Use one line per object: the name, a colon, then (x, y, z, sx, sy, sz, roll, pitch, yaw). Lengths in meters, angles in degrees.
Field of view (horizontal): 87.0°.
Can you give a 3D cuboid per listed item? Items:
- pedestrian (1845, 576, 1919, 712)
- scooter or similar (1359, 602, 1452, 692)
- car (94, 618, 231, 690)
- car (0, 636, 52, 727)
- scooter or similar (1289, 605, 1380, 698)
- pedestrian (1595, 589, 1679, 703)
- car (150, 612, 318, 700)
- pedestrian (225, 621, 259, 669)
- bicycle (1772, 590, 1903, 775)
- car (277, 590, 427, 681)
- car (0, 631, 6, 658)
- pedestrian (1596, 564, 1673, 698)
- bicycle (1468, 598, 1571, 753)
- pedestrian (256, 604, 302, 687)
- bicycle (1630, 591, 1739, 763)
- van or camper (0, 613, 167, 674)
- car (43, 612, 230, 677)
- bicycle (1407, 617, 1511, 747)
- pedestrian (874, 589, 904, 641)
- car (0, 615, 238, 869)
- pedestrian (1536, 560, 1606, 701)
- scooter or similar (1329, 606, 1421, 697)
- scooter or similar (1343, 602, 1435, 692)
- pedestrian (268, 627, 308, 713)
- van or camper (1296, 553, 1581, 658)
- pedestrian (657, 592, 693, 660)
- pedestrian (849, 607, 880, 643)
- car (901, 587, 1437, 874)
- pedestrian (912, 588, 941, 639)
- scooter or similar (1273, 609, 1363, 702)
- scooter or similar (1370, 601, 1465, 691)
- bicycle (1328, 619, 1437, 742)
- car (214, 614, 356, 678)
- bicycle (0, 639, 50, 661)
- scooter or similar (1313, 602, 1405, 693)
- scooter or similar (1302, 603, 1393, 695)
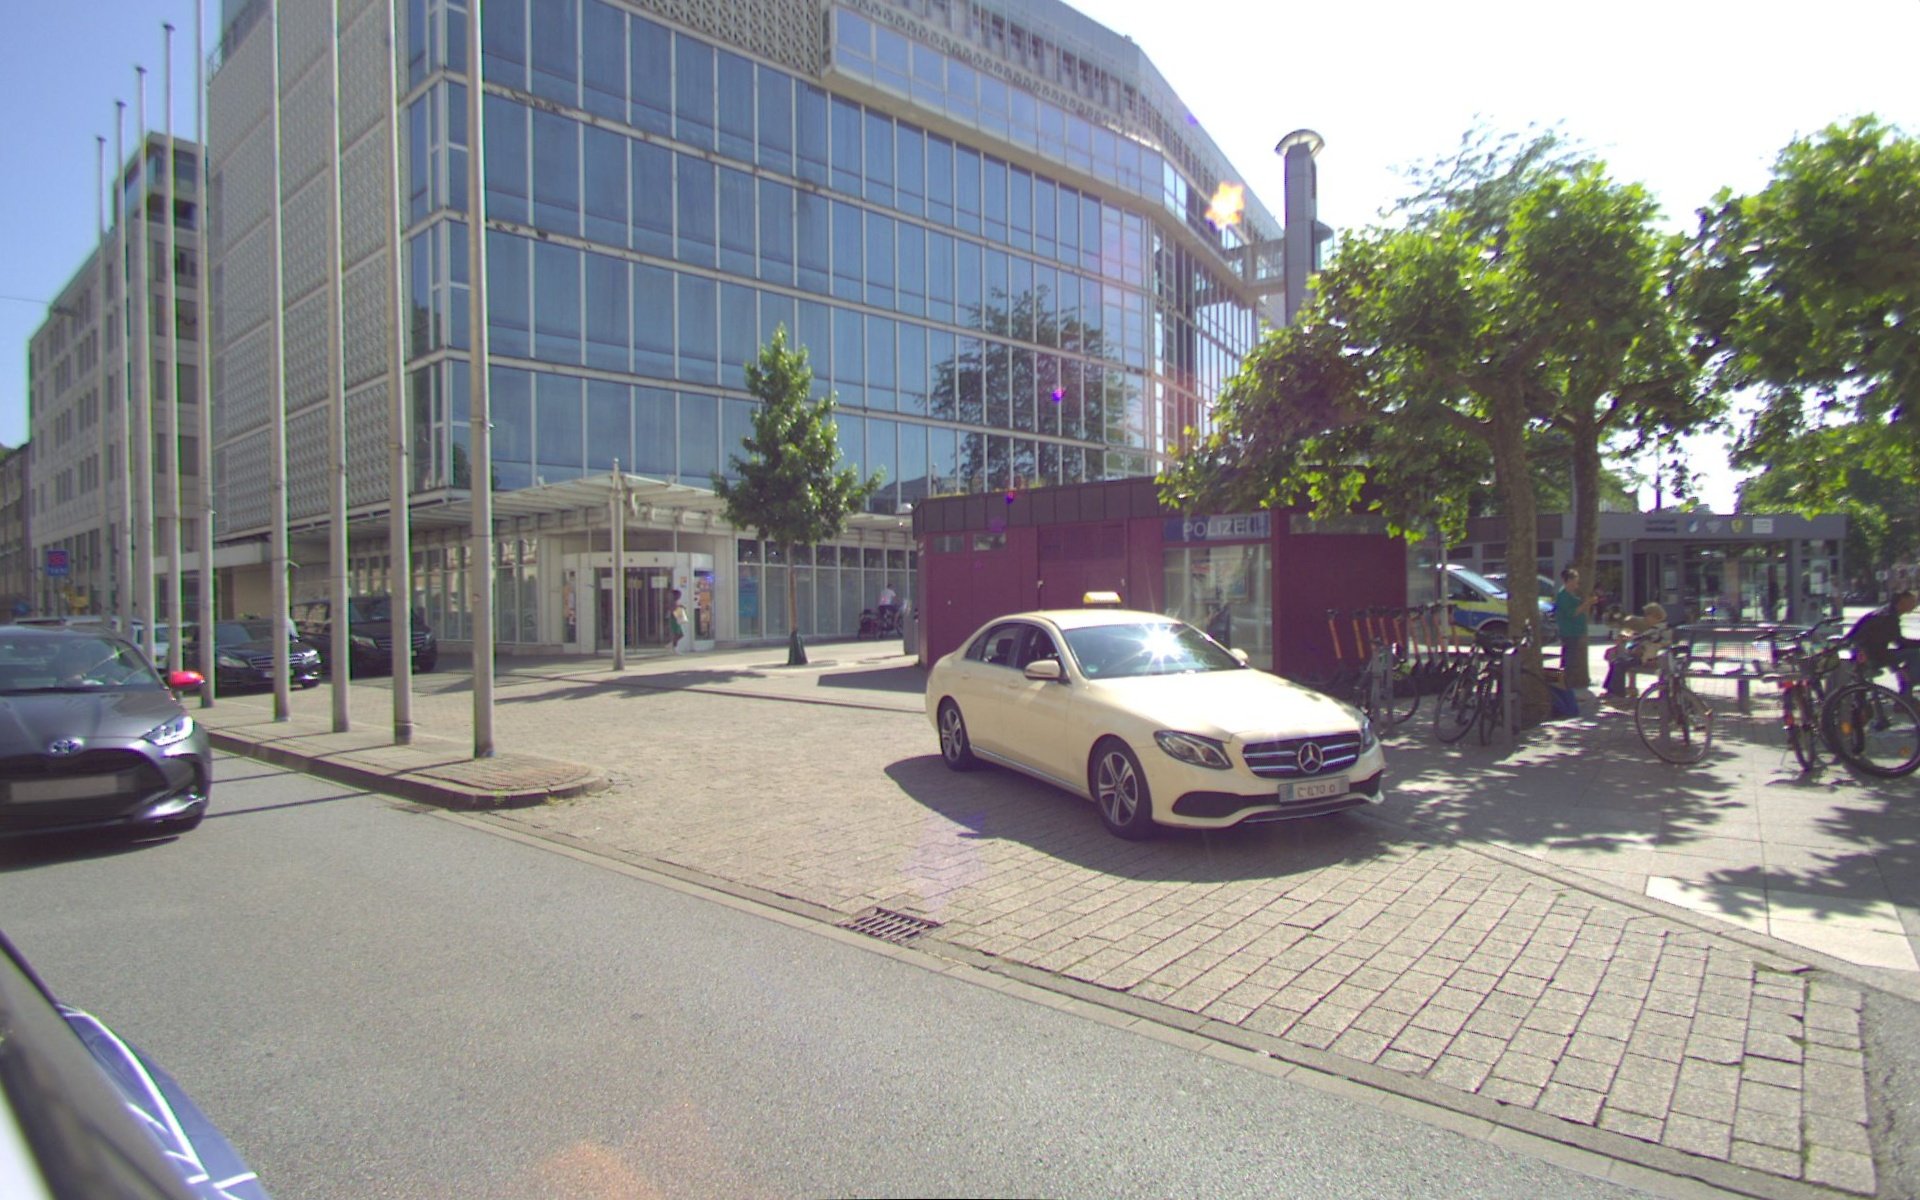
pedestrian: (10.002, 0.445, 10.665, 0.662, 1.392, 0.898, -1, 0, -40)
scooter or similar: (6.329, 0.647, 14.437, 0.230, 1.223, 1.307, -1, 0, -29)
car: (-19.638, 1.295, 24.833, 4.736, 1.534, 1.780, -3, 0, 41)
car: (-16.834, 1.347, 17.204, 4.106, 1.407, 1.711, -2, -1, 43)
scooter or similar: (5.172, 0.698, 14.043, 0.230, 1.223, 1.307, -1, 0, -29)
pedestrian: (8.106, 0.534, 12.150, 0.683, 1.319, 0.668, -2, 0, 24)
car: (-15.210, 1.122, 21.100, 4.706, 1.612, 1.743, -2, -1, 40)
pedestrian: (-26.337, 1.643, 37.121, 0.640, 1.673, 0.780, -1, 3, 38)
bicycle: (7.005, 0.593, 8.144, 0.662, 1.318, 1.765, -2, -1, 38)
car: (-15.024, 0.845, 24.905, 4.683, 2.029, 1.813, -2, -1, 41)
car: (-61.672, 2.915, 62.305, 4.108, 1.648, 2.105, -6, 3, -41)
pedestrian: (8.420, 0.376, 12.667, 0.670, 1.618, 0.798, -2, 0, 28)
bicycle: (5.347, 0.659, 9.619, 0.562, 1.318, 1.765, -2, -1, 38)
pedestrian: (-15.218, 0.999, 22.635, 0.610, 1.806, 0.694, -1, -1, -10)
bicycle: (6.260, 0.596, 8.707, 0.662, 1.318, 1.765, -2, -1, 38)
van or camper: (-33.582, 1.641, 38.752, 4.585, 2.029, 2.004, -3, 0, -10)
car: (-27.234, 1.442, 33.638, 4.372, 1.924, 2.014, -2, -1, -13)
bicycle: (4.993, 0.762, 10.078, 0.562, 1.141, 1.765, -2, -1, 38)
pedestrian: (-2.449, 0.512, 35.064, 0.651, 1.778, 0.768, -2, 0, 38)
car: (-6.997, 0.932, 7.521, 4.106, 1.489, 1.843, -4, -4, 43)
pedestrian: (7.605, 0.371, 12.604, 0.685, 1.690, 0.666, -2, 0, 33)
scooter or similar: (5.840, 0.709, 14.310, 0.230, 1.223, 1.307, -1, 0, -29)
scooter or similar: (6.079, 0.647, 14.398, 0.230, 1.223, 1.307, -1, 0, -29)
pedestrian: (-14.559, 1.503, 21.933, 0.524, 1.806, 0.540, -1, -1, -10)
van or camper: (9.768, 0.132, 20.930, 5.020, 1.933, 1.854, -1, 0, 39)
pedestrian: (-7.343, 0.667, 26.056, 0.674, 1.728, 0.723, 1, -2, -40)
pedestrian: (-3.181, 0.837, 33.564, 0.651, 1.155, 0.768, -2, 0, 38)
car: (1.194, 0.778, 8.267, 1.864, 1.553, 4.877, -2, -1, -22)
pedestrian: (-1.201, 0.475, 36.267, 0.651, 1.778, 0.768, -2, 0, 38)
scooter or similar: (4.926, 0.743, 13.983, 0.230, 1.223, 1.307, -1, 0, -29)
scooter or similar: (6.558, 0.642, 14.547, 0.260, 1.223, 1.307, -1, 0, -29)
bicycle: (4.376, 0.780, 10.416, 0.562, 1.113, 1.765, -2, -1, 38)
car: (-19.167, 1.265, 28.693, 4.392, 1.622, 1.976, -2, 0, 37)
bicycle: (-51.118, 2.715, 55.254, 2.029, 1.135, 0.649, -1, -1, -23)
scooter or similar: (5.595, 0.651, 14.250, 0.230, 1.223, 1.307, -1, 0, -29)
scooter or similar: (5.389, 0.670, 14.129, 0.230, 1.223, 1.307, -1, 0, -29)
